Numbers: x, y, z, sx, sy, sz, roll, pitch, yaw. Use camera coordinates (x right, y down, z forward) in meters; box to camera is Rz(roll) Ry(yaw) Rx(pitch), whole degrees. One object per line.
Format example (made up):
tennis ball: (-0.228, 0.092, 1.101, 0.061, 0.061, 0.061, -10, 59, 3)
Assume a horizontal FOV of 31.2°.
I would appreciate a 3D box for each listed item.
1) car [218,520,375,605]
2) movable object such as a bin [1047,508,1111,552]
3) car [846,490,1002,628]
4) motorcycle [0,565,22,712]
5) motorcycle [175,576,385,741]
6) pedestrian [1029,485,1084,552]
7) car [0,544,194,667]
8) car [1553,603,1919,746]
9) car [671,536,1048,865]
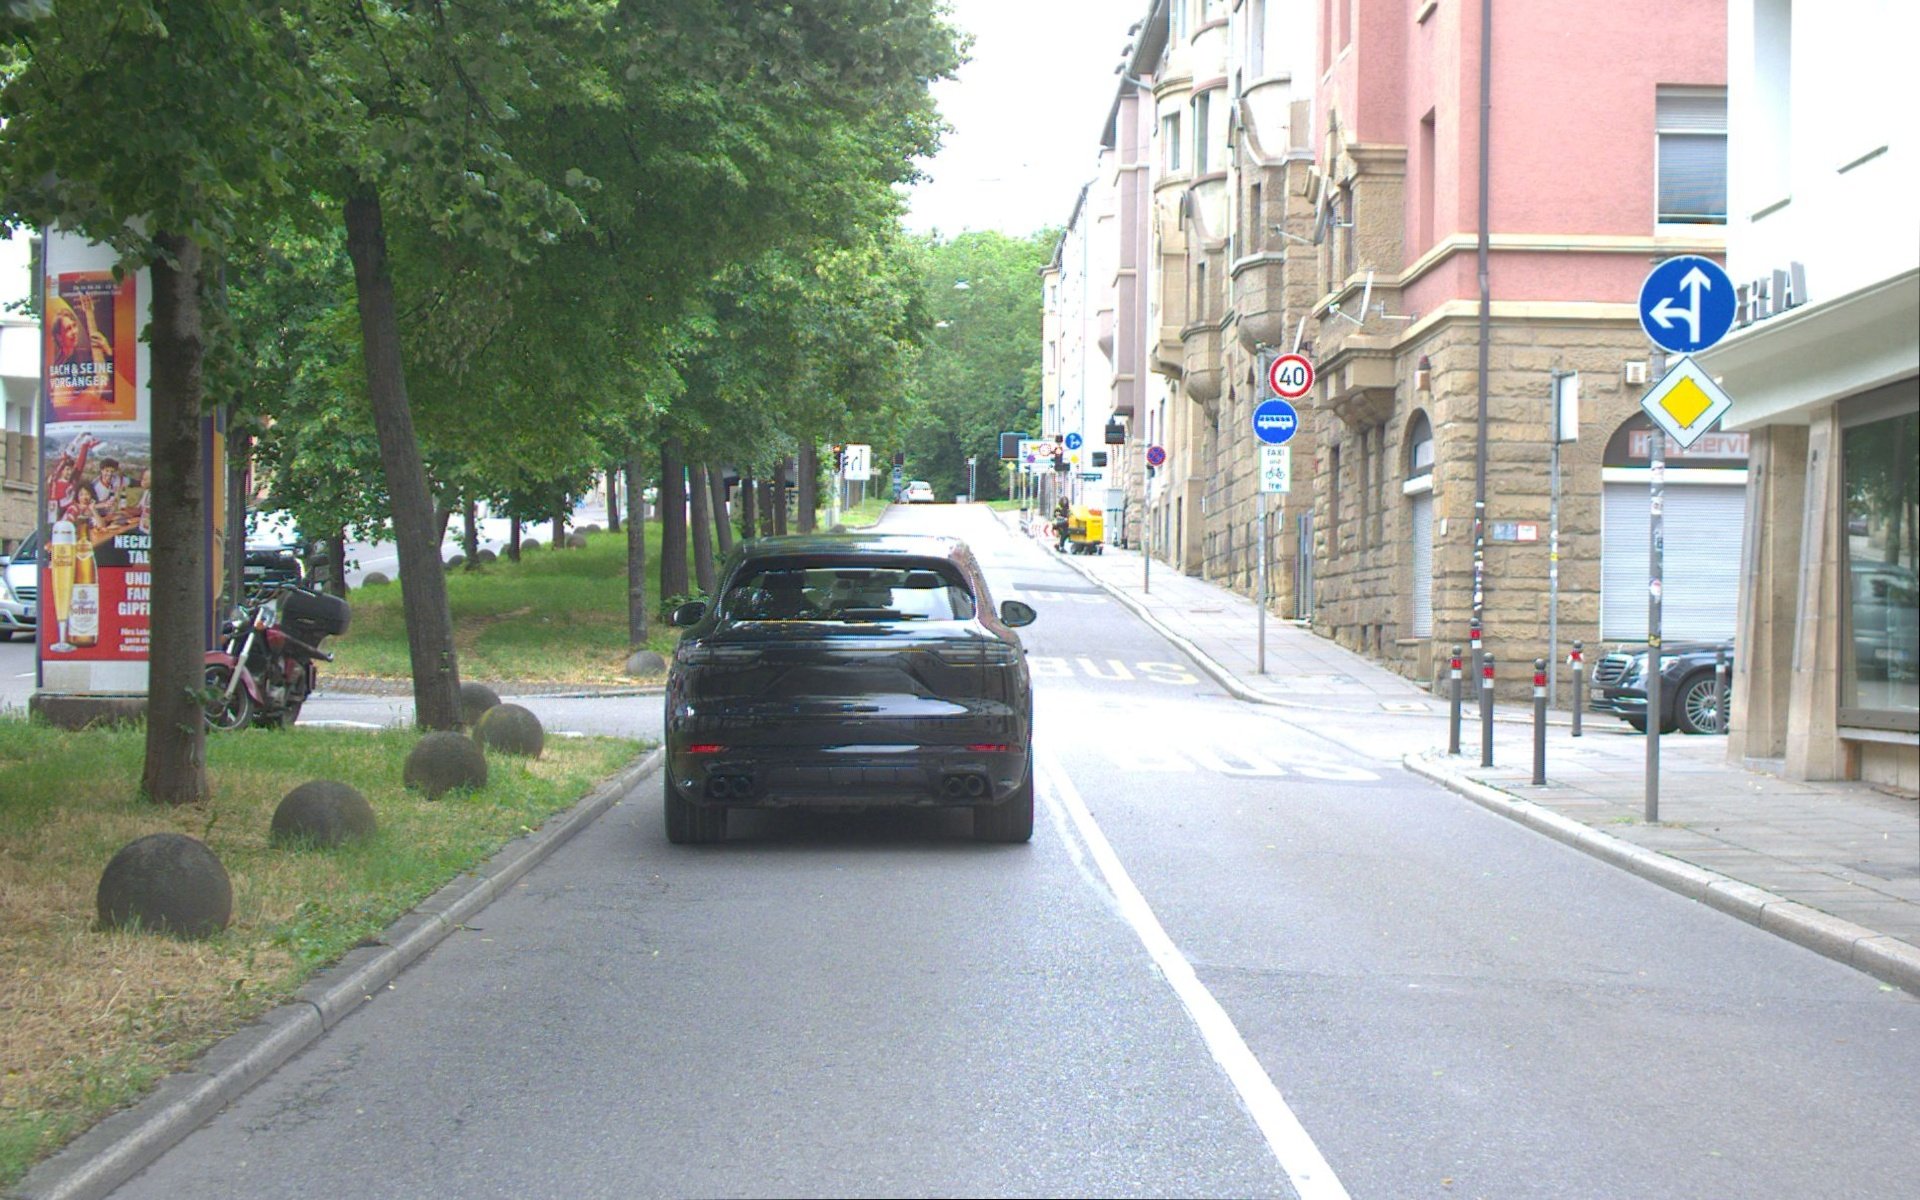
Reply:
car: (-11.999, -0.693, 62.438, 1.993, 1.478, 4.532, 1, 1, 0)
movable object such as a bin: (3.532, -2.076, 102.386, 1.237, 1.270, 1.847, 1, 1, -22)
car: (-0.467, -0.549, 46.311, 1.993, 1.747, 4.000, 1, 1, 0)
motorcycle: (-7.649, 0.280, 25.238, 0.900, 1.103, 2.251, 0, -1, 0)
motorcycle: (-4.979, 0.404, 25.366, 1.062, 1.144, 2.448, 0, 1, 0)
pedestrian: (2.909, -2.457, 103.735, 1.301, 2.007, 1.020, 1, 0, -23)
car: (-12.306, 0.031, 48.397, 1.993, 1.618, 4.816, 1, 1, 0)
car: (8.383, 0.738, 35.494, 3.986, 1.371, 2.001, 0, 1, -21)
car: (-0.587, 0.493, 19.673, 1.903, 1.660, 4.136, 1, 1, -2)
